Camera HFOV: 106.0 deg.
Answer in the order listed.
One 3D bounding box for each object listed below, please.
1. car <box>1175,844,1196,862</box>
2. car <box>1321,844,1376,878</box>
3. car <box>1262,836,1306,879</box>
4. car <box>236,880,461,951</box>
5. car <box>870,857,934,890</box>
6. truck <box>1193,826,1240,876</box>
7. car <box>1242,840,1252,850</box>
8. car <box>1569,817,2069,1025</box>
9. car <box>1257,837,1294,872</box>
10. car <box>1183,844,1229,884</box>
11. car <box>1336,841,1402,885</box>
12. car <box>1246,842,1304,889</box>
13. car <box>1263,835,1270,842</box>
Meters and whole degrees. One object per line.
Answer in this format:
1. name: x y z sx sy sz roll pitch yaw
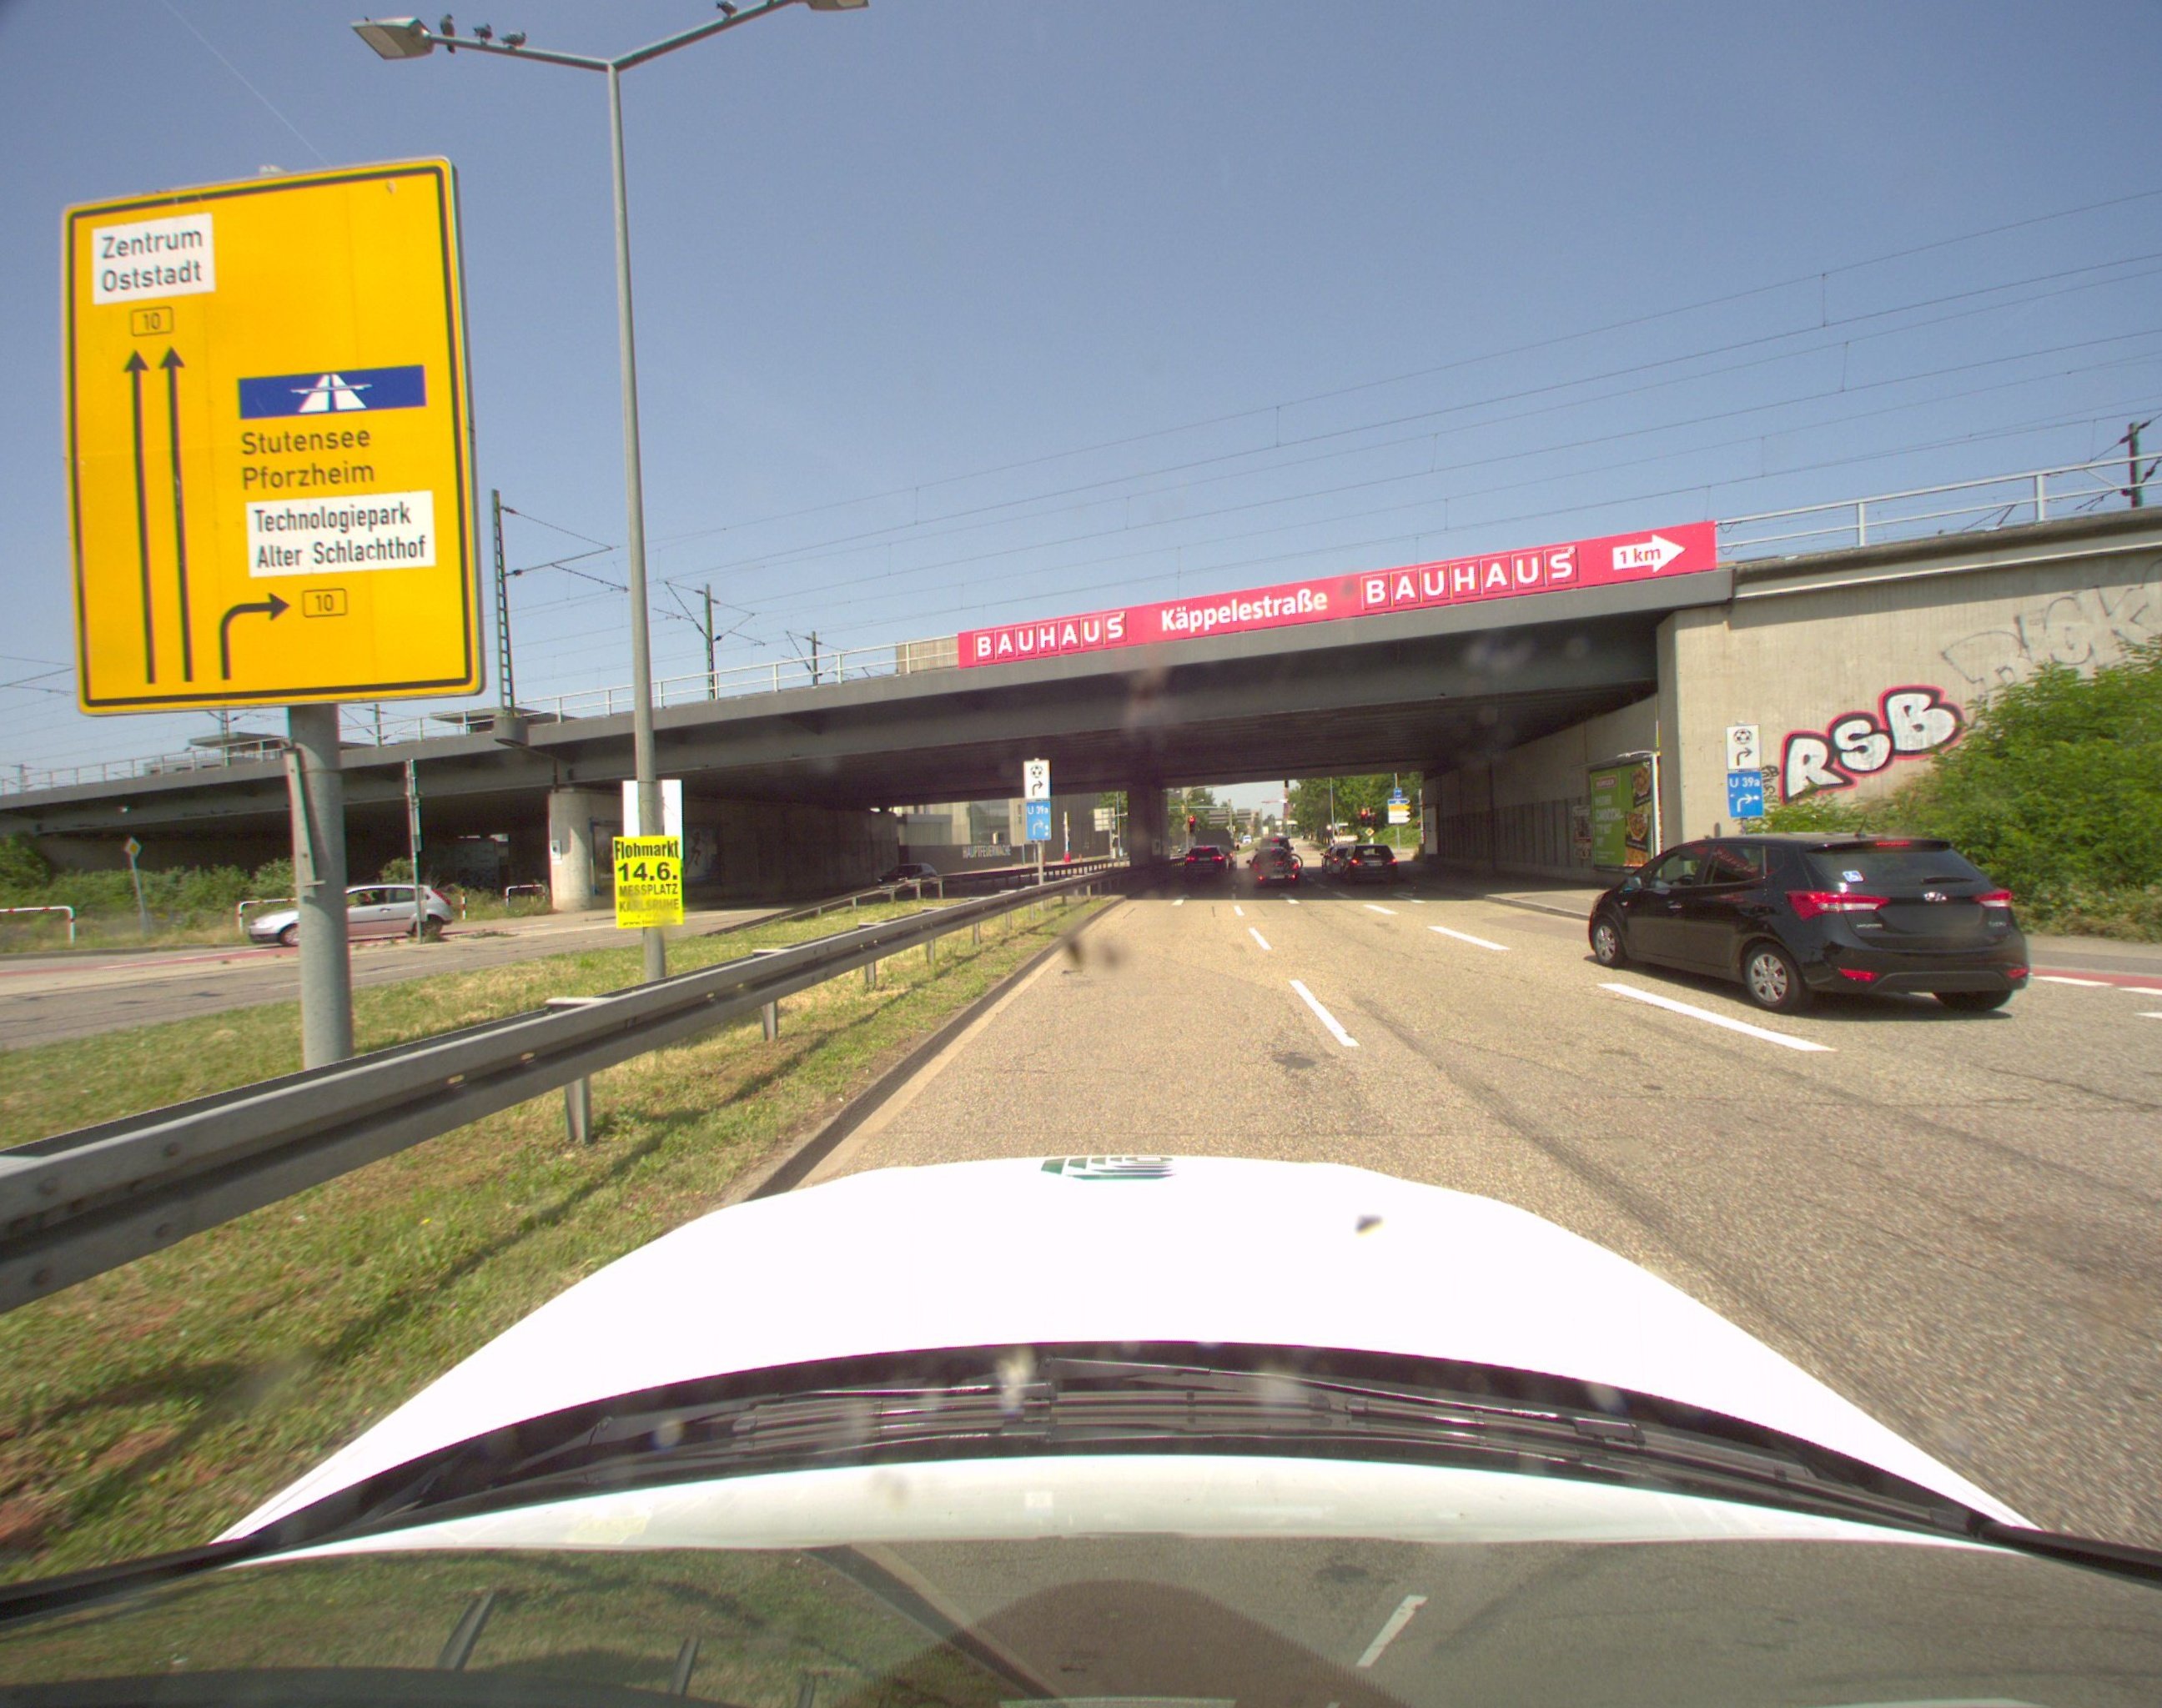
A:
1. car: 12.702 -0.149 99.151 1.980 2.013 4.014 -5 -1 13
2. car: 12.457 0.315 38.160 1.893 1.488 4.012 -2 0 11
3. car: 9.711 0.152 39.199 1.828 1.890 4.012 -2 -1 11
4. car: -18.907 1.551 21.163 1.974 1.441 4.026 -5 -2 38
5. car: -9.631 1.038 44.198 1.842 1.622 4.013 -2 -1 12
6. truck: 7.594 -0.149 45.314 2.052 2.538 4.016 -4 -1 15
7. car: 36.681 -1.977 179.806 1.979 2.013 4.015 -5 -1 14
8. car: 7.015 0.525 8.459 1.758 1.599 4.084 -2 0 6
9. car: 11.118 0.034 46.674 1.828 1.890 4.012 -2 -1 11
10. car: 5.910 0.441 38.167 1.928 1.721 4.013 -2 -1 11
11. car: 11.123 0.330 31.723 1.828 1.568 4.012 -2 -1 11
12. car: 7.306 0.401 30.901 1.943 1.633 4.294 -2 0 12
13. car: 55.872 -4.692 245.290 1.981 2.014 4.011 -2 -1 10
